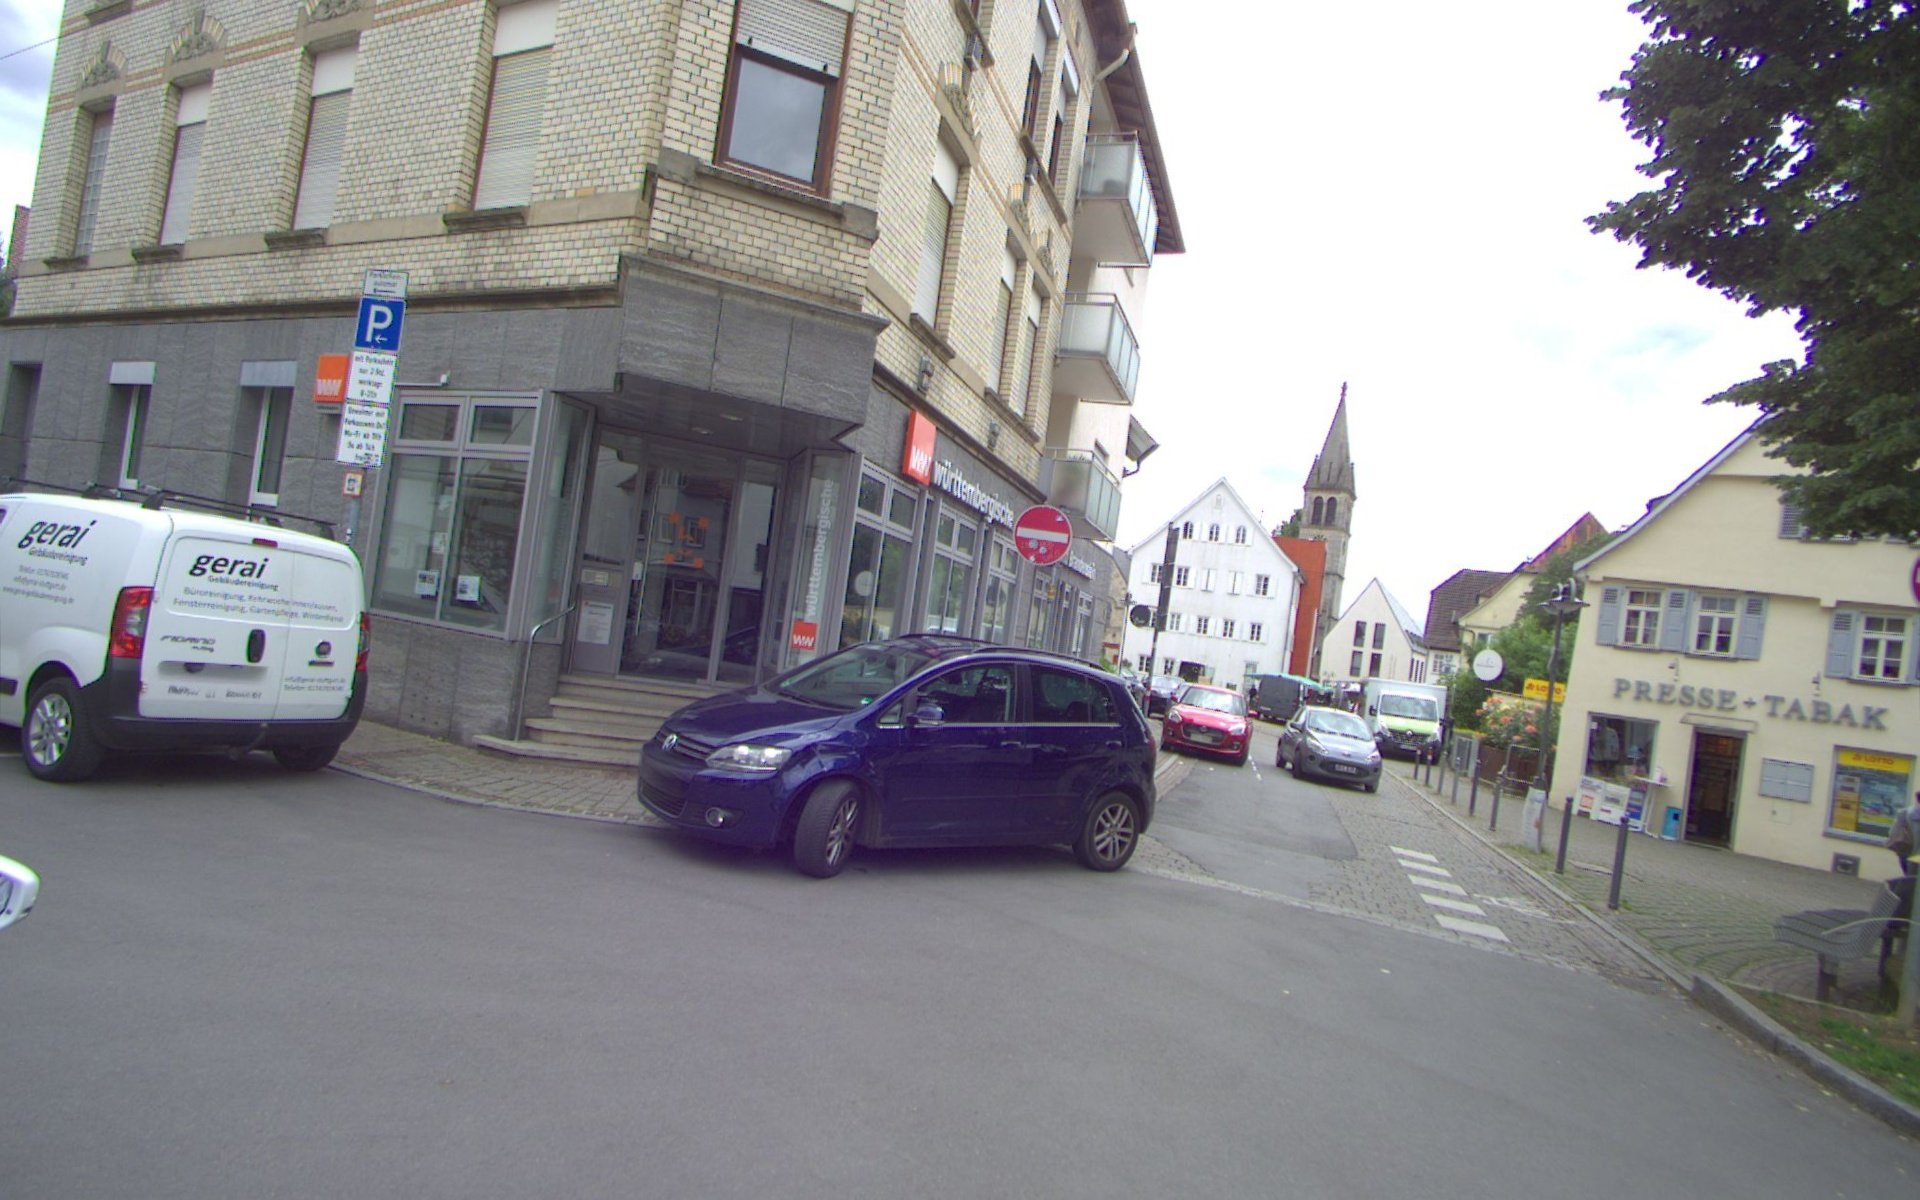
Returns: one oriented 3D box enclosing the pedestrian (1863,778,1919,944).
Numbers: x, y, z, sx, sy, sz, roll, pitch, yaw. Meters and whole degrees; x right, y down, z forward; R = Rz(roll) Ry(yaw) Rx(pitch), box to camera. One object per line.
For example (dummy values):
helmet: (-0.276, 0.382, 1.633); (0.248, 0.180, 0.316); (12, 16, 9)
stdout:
pedestrian: (10.948, 2.981, 11.470); (0.784, 1.764, 0.709); (7, -2, 41)

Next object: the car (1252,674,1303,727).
car: (15.905, 4.981, 50.274); (2.038, 2.236, 4.004); (8, -2, 20)

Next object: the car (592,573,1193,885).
car: (-0.347, 0.983, 7.515); (3.994, 1.722, 1.844); (11, -5, -38)

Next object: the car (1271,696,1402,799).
car: (7.794, 3.001, 21.219); (1.749, 1.532, 4.013); (9, -2, 11)

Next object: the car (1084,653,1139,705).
car: (7.335, 3.790, 48.986); (1.950, 2.036, 4.368); (9, -2, 3)

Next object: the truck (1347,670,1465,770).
truck: (15.063, 4.025, 34.371); (2.789, 2.720, 5.303); (8, -3, 18)

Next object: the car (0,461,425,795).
car: (-6.286, 0.061, 7.321); (4.141, 1.812, 1.833); (7, -3, 23)

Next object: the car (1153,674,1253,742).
car: (7.509, 3.300, 31.568); (2.215, 1.528, 4.528); (9, -2, 6)

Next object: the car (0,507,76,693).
car: (-10.636, -0.271, 9.347); (4.460, 1.618, 1.795); (6, -3, 24)

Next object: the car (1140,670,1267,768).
car: (5.391, 2.563, 21.809); (2.085, 1.563, 4.391); (8, -4, 20)
